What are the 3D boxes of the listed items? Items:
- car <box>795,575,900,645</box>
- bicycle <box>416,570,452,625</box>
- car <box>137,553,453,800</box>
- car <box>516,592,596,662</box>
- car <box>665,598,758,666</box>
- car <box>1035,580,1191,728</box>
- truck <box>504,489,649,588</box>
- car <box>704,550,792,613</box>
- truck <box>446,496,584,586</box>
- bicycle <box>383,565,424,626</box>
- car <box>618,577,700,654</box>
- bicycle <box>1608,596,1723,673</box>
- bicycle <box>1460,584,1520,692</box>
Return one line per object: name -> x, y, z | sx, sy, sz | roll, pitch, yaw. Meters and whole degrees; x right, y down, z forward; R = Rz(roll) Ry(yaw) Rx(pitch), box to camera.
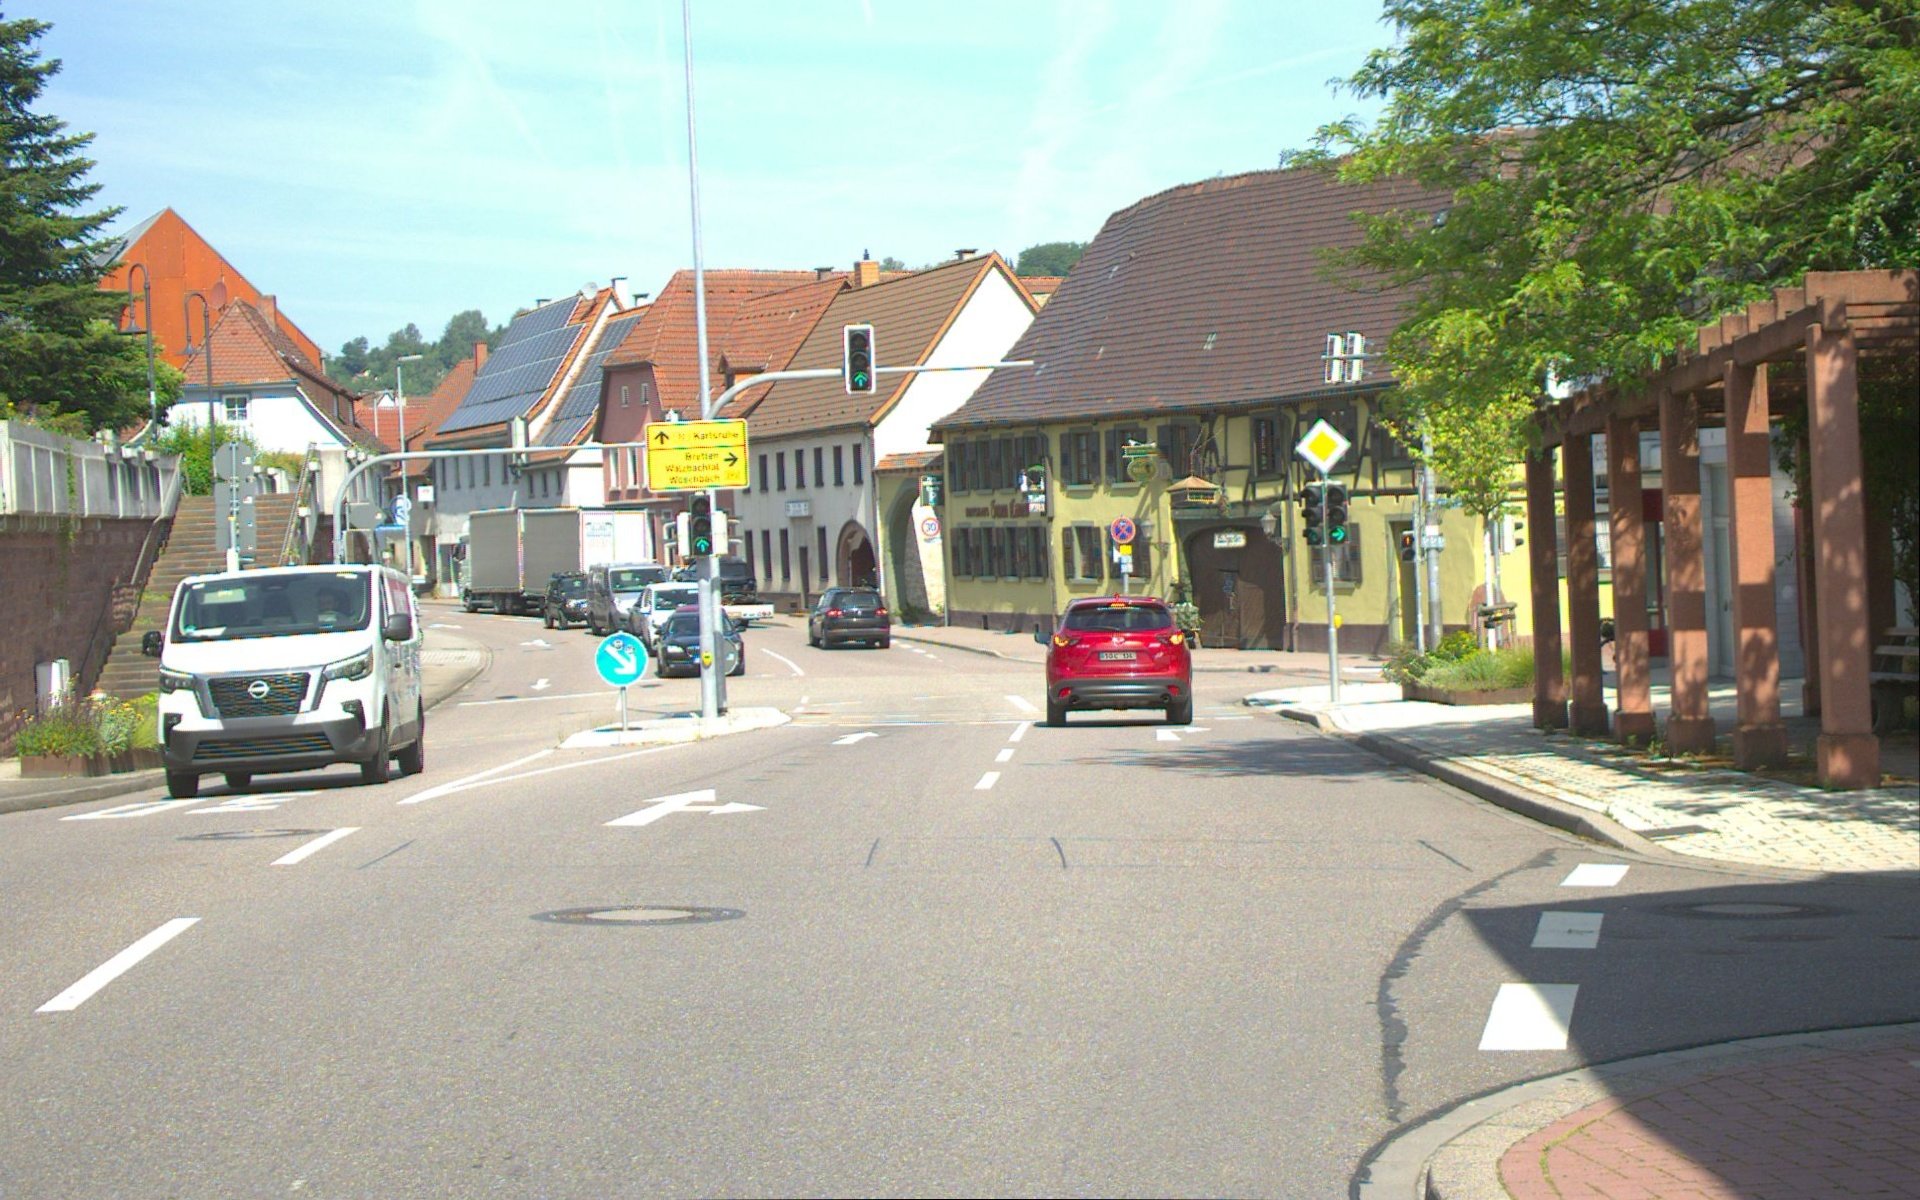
car -> -3.068, 0.254, 93.250 | 1.820, 1.733, 4.006 | -3, 2, -16
bicycle -> -15.521, -0.082, 101.493 | 0.558, 1.602, 2.562 | 0, 1, 3
car -> -5.824, 0.588, 30.756 | 1.968, 1.926, 5.315 | -3, 1, -3
car -> -13.623, 0.882, 115.638 | 1.757, 2.238, 4.554 | 0, 1, -19
car -> -5.777, 0.728, 80.310 | 1.820, 1.429, 4.249 | -2, 1, 0
car -> 2.012, 0.657, 44.310 | 1.805, 1.657, 3.812 | -2, 1, 5
truck -> -14.379, -2.277, 128.158 | 3.222, 3.537, 9.233 | 0, 1, -20
car -> -6.919, -0.627, 111.889 | 1.846, 2.007, 4.001 | 0, 1, -19
truck -> -17.898, -2.287, 137.564 | 3.158, 3.448, 10.715 | 0, 0, -20
bicycle -> -16.470, -0.152, 101.802 | 0.641, 1.773, 2.670 | 0, 1, 3
car -> -8.221, 0.383, 93.612 | 1.820, 1.899, 4.965 | -2, 2, -9
bicycle -> 11.947, 0.581, 58.263 | 1.803, 1.230, 0.549 | -2, 0, 3
bicycle -> 6.637, 0.460, 43.114 | 0.529, 1.275, 1.991 | -5, 0, 6
